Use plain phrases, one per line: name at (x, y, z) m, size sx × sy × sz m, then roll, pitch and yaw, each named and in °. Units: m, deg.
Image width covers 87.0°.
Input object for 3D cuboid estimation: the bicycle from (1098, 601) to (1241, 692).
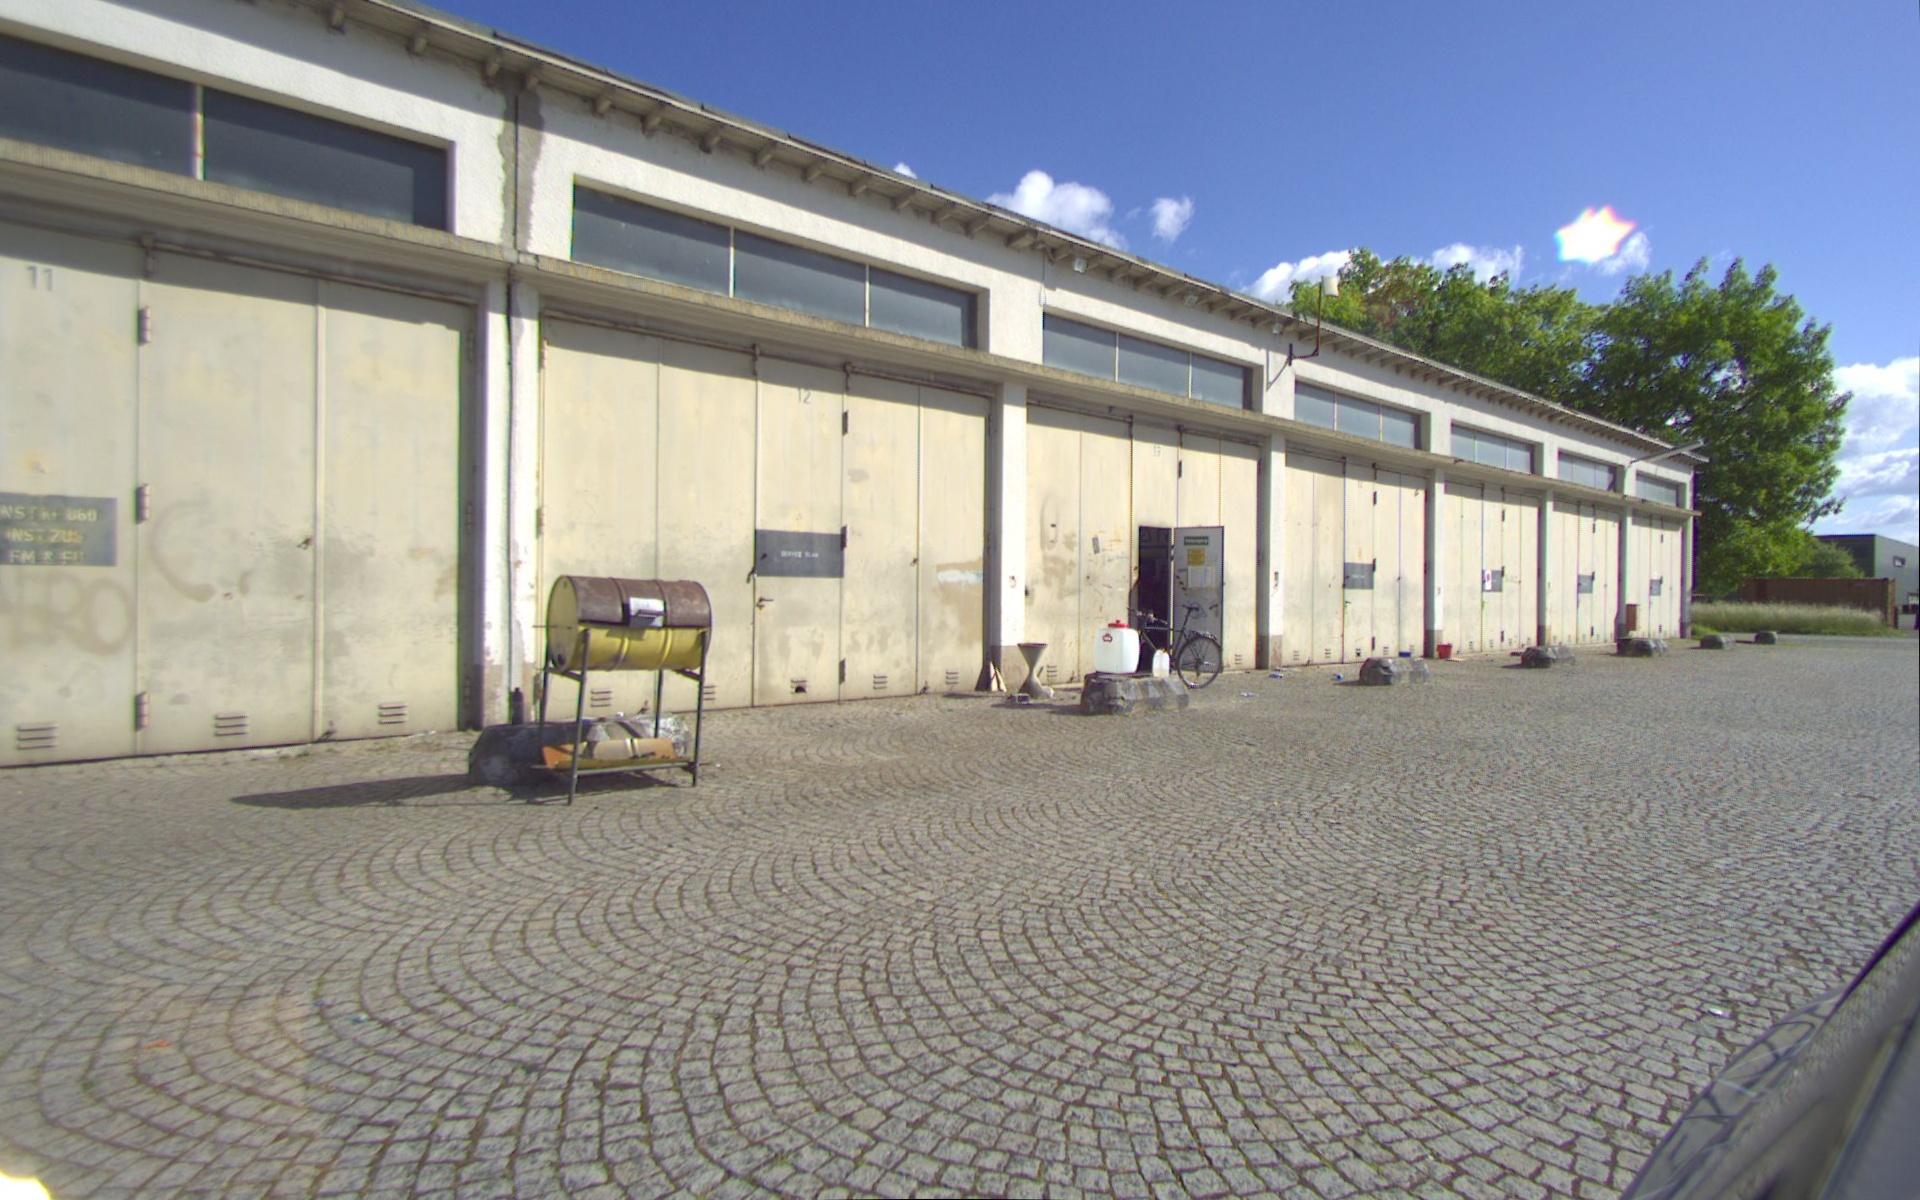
bicycle at (2.711, 0.572, 13.072) m, size 1.787 × 1.081 × 0.667 m, roll -1°, pitch 0°, yaw -28°
